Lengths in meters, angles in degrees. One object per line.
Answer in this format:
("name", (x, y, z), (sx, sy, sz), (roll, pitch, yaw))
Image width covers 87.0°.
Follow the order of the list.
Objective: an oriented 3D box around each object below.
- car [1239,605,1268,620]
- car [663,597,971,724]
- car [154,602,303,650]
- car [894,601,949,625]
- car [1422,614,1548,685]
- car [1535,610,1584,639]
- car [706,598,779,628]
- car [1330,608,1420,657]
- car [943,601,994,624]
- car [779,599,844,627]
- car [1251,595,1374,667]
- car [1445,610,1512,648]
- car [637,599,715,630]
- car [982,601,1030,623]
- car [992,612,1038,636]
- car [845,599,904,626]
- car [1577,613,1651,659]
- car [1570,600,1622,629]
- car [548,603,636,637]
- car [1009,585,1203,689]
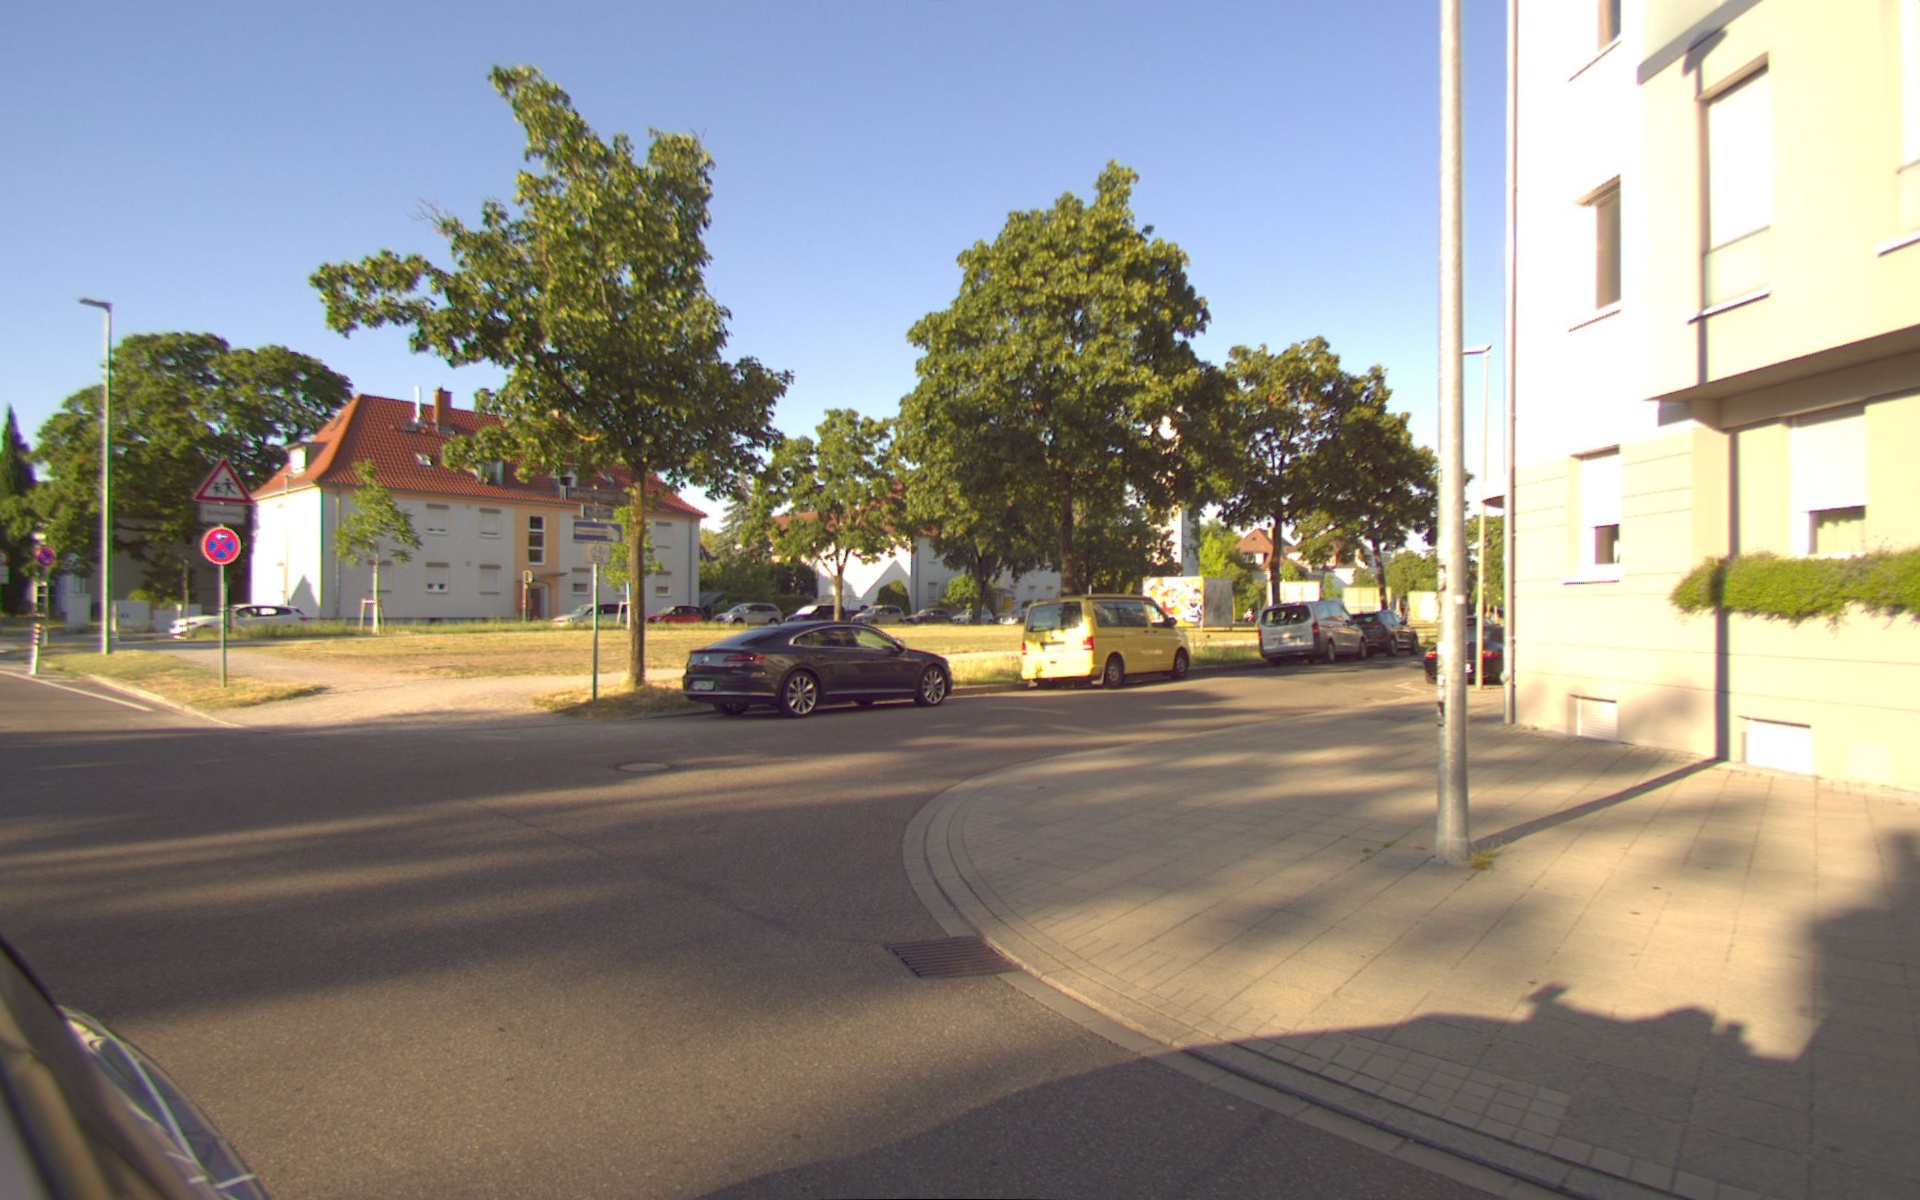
("car", (33.548, 1.419, 115.556), (1.849, 1.708, 3.948), (-2, -2, 39))
("car", (-2.053, 0.802, 15.809), (1.788, 1.681, 4.772), (0, 0, 41))
("car", (-27.536, 0.955, 38.196), (1.869, 1.708, 4.244), (-2, -2, 39))
("car", (-2.756, 0.937, 72.966), (1.849, 1.708, 3.948), (-2, -2, 39))
("car", (11.921, 1.075, 22.884), (1.625, 1.433, 3.679), (-2, -2, 42))
("car", (34.682, 1.408, 58.520), (1.825, 1.592, 3.784), (0, 0, 41))
("car", (-12.937, 0.788, 60.386), (1.849, 1.708, 3.948), (-2, -2, 39))
("car", (14.644, 1.093, 35.630), (1.825, 1.592, 3.784), (0, 0, 41))
("car", (0.650, 0.926, 76.928), (1.849, 1.708, 3.948), (-2, -2, 39))
("car", (-9.454, 0.804, 64.577), (1.849, 1.708, 3.948), (-2, -2, 39))
("car", (10.752, 0.875, 30.689), (2.078, 2.029, 4.514), (0, 0, 40))
("car", (23.089, 1.265, 44.990), (1.825, 1.592, 3.784), (0, 0, 41))
("car", (-15.988, 0.817, 57.080), (1.849, 1.708, 3.948), (-2, -2, 39))
("car", (3.680, 0.982, 80.905), (1.849, 1.708, 3.948), (-2, -2, 39))
("car", (4.150, 1.768, 75.676), (1.806, 1.730, 3.300), (1, 1, 40))
("car", (-5.799, 0.853, 68.977), (1.849, 1.708, 3.948), (-2, -2, 39))
("car", (24.347, 1.293, 37.648), (1.825, 1.592, 3.784), (0, 0, 41))
("car", (44.350, 0.971, 70.522), (2.230, 1.960, 4.444), (0, 0, 44))
("car", (-19.228, 1.015, 53.039), (1.849, 1.708, 3.948), (-2, -2, 39))
("car", (3.314, 0.793, 22.309), (2.031, 2.029, 4.631), (-4, -3, 40))
